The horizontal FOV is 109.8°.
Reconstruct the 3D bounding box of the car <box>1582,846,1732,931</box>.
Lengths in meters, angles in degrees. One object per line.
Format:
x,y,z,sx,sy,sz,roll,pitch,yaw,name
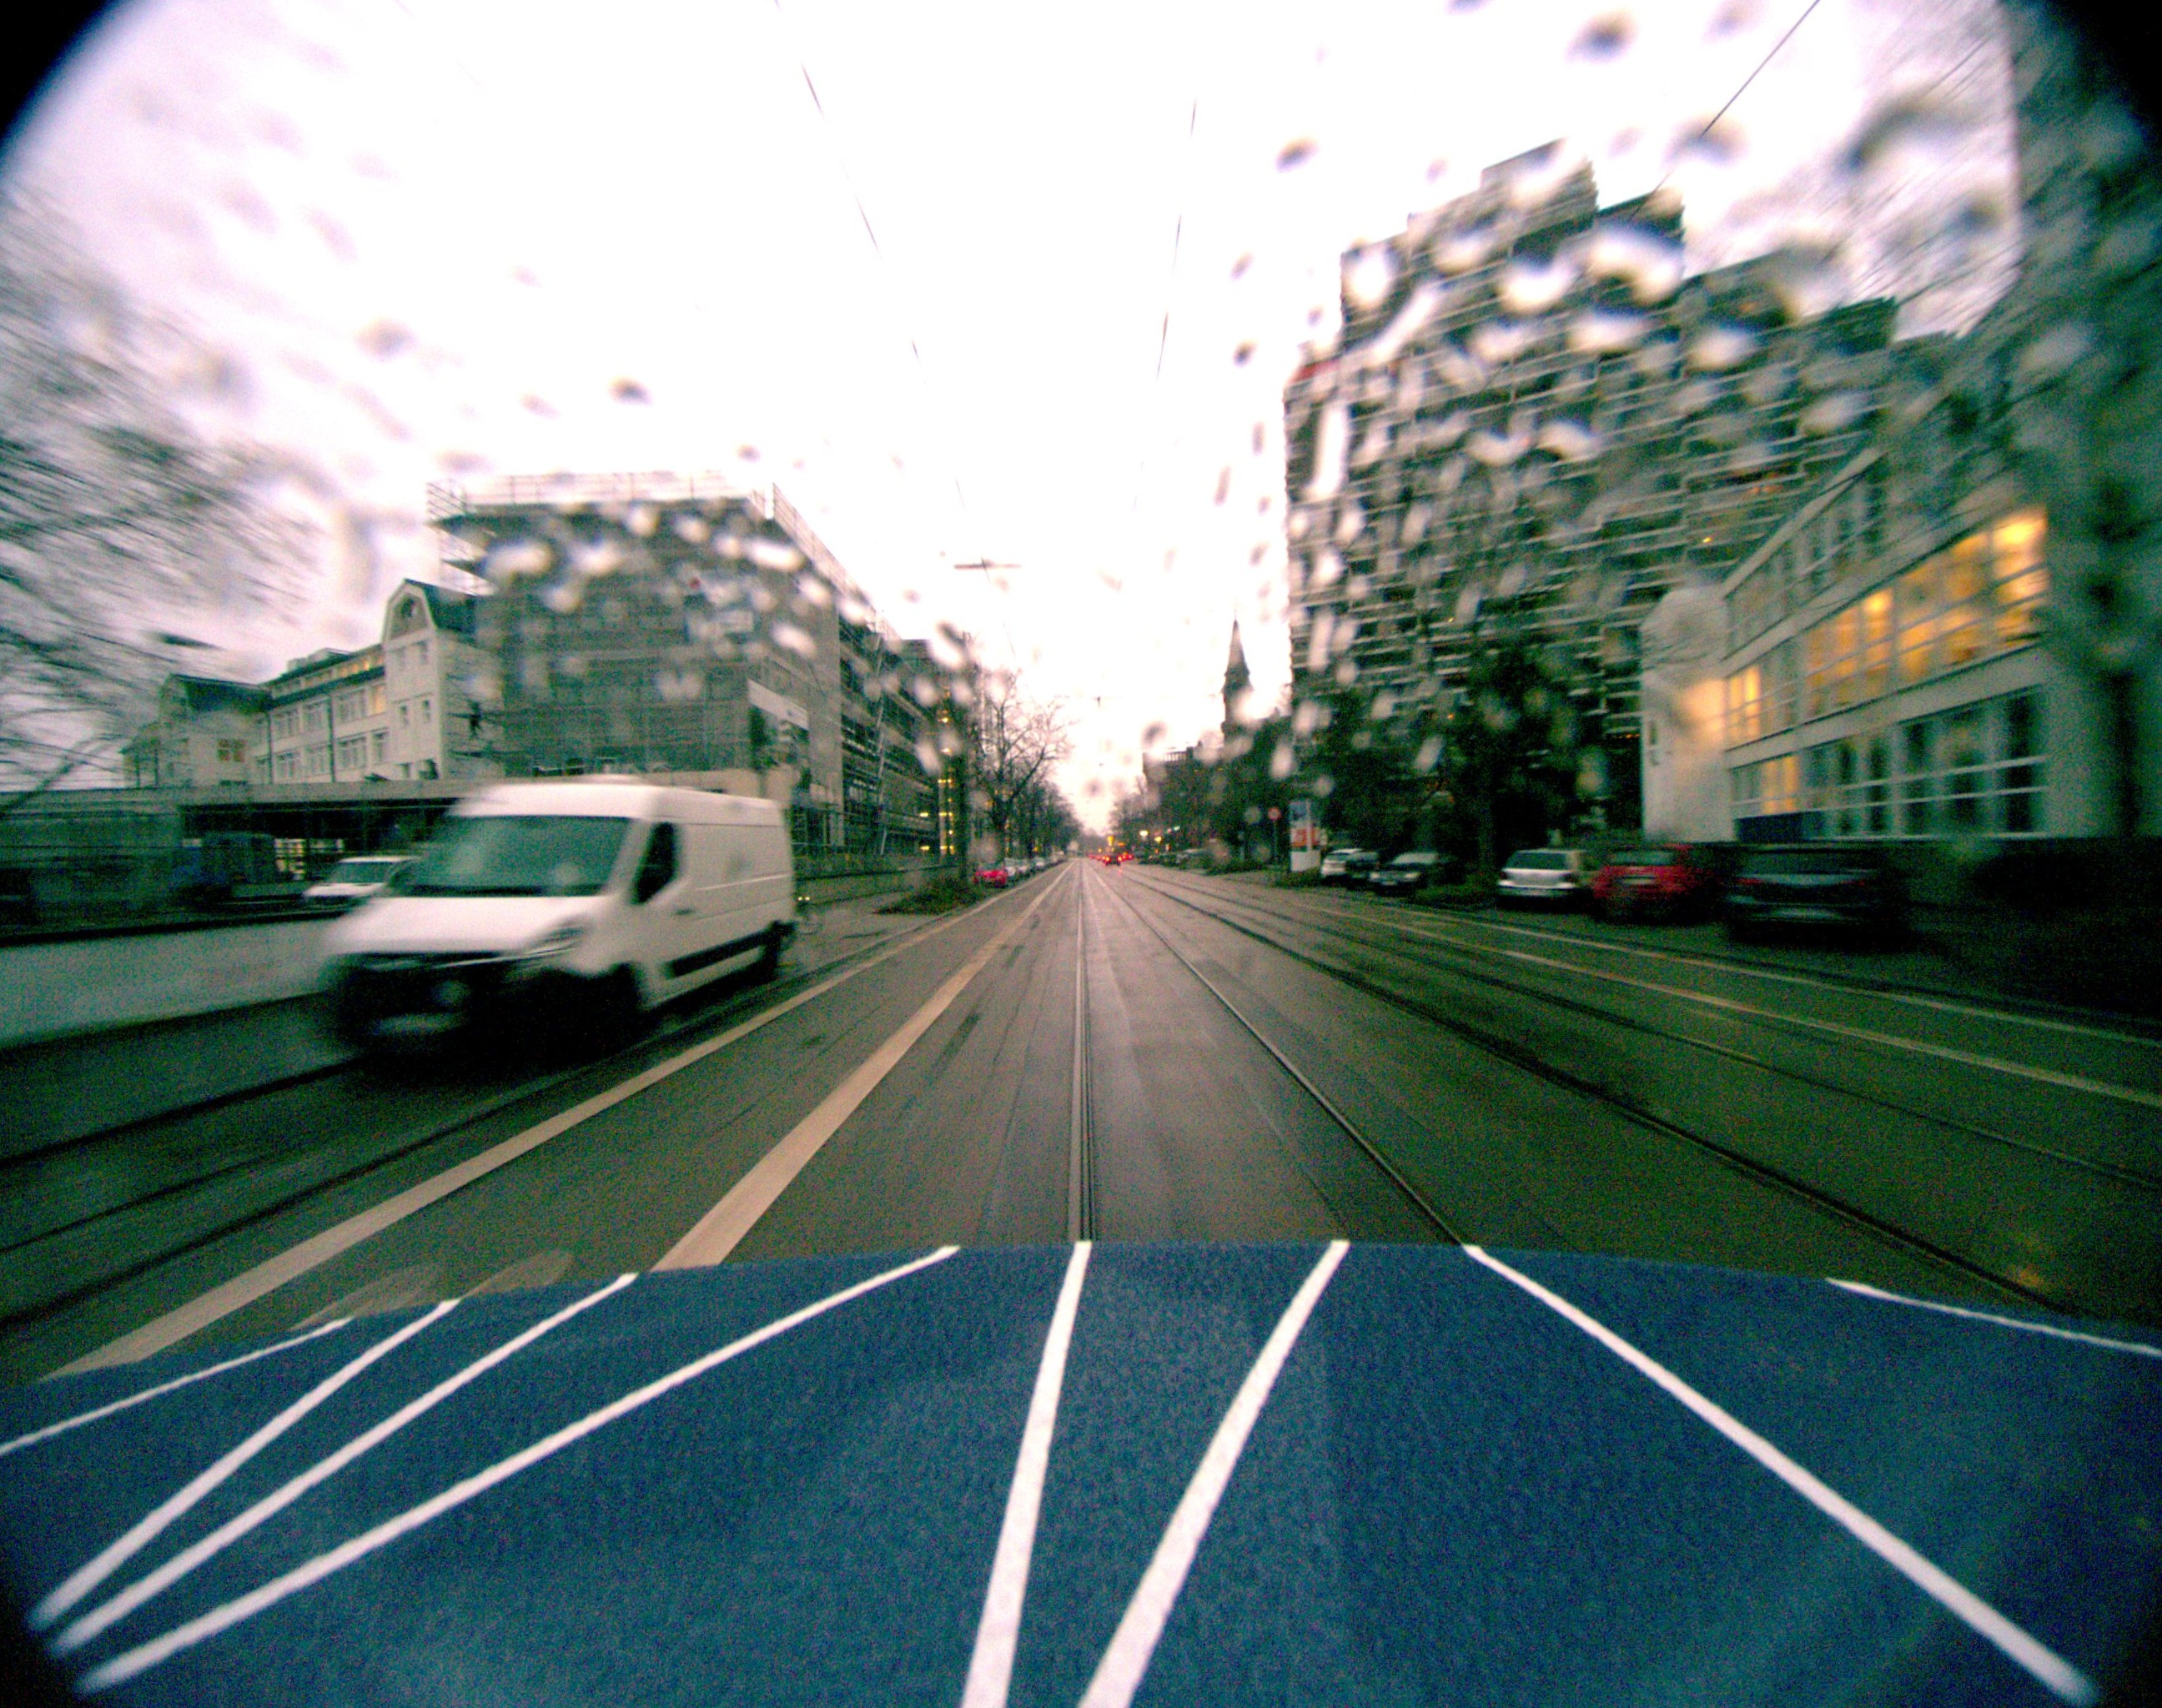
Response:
11.494,0.611,15.094,3.458,1.484,1.725,-1,0,-42,car

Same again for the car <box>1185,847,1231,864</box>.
11.426,0.152,68.450,3.995,1.477,1.673,-1,0,6,car

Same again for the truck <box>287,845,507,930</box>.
-24.078,1.002,27.340,2.132,2.573,7.075,-1,1,-7,truck

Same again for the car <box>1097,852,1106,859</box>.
4.547,0.327,168.830,1.765,1.402,4.000,-1,0,1,car

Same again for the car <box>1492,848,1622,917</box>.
11.360,0.603,18.012,1.788,1.438,4.008,-1,0,44,car

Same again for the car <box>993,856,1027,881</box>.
-4.694,0.913,50.598,1.753,1.575,3.737,-1,0,2,car

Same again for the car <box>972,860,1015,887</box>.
-4.737,1.044,41.578,1.753,1.379,3.737,-1,0,2,car

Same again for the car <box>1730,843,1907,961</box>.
11.220,0.600,11.527,3.861,1.484,1.691,-1,0,-44,car

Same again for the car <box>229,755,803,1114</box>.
-4.937,0.574,8.049,2.130,2.472,5.437,-1,0,-2,car

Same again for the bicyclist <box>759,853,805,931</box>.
-6.651,0.831,16.930,0.771,1.679,0.706,-1,0,-5,bicyclist

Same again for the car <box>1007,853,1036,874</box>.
-4.766,0.769,61.253,1.866,1.584,4.001,-1,0,2,car

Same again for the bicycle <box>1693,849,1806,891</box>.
18.108,0.445,20.647,2.200,1.114,0.643,-1,0,23,bicycle

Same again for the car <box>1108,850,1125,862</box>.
4.542,0.240,98.300,1.752,1.535,4.294,-1,0,-4,car

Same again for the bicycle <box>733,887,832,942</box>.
-6.627,1.331,16.942,1.893,1.126,0.730,-1,0,-5,bicycle

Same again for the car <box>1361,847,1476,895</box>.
10.786,0.509,24.167,4.008,1.371,1.851,-1,0,-42,car

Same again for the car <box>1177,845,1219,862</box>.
11.560,-0.068,75.340,3.995,1.630,2.001,-1,0,6,car

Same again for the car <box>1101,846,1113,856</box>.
4.352,-0.443,127.423,1.711,1.569,4.379,-1,0,0,car

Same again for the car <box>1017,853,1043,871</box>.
-4.691,0.689,70.372,1.866,1.584,4.001,-1,0,2,car

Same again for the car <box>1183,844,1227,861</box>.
11.792,-0.150,72.465,3.995,1.477,1.673,-1,0,6,car

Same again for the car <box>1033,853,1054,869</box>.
-3.969,0.732,81.393,1.866,1.584,4.001,-1,0,2,car

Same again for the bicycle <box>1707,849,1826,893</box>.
17.738,0.447,19.733,2.200,1.114,0.643,-1,0,23,bicycle

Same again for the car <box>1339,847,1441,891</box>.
11.368,0.517,27.866,4.008,1.454,1.851,-1,0,-42,car

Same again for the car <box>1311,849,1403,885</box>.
11.403,0.507,31.308,4.008,1.391,1.851,-1,0,-42,car
